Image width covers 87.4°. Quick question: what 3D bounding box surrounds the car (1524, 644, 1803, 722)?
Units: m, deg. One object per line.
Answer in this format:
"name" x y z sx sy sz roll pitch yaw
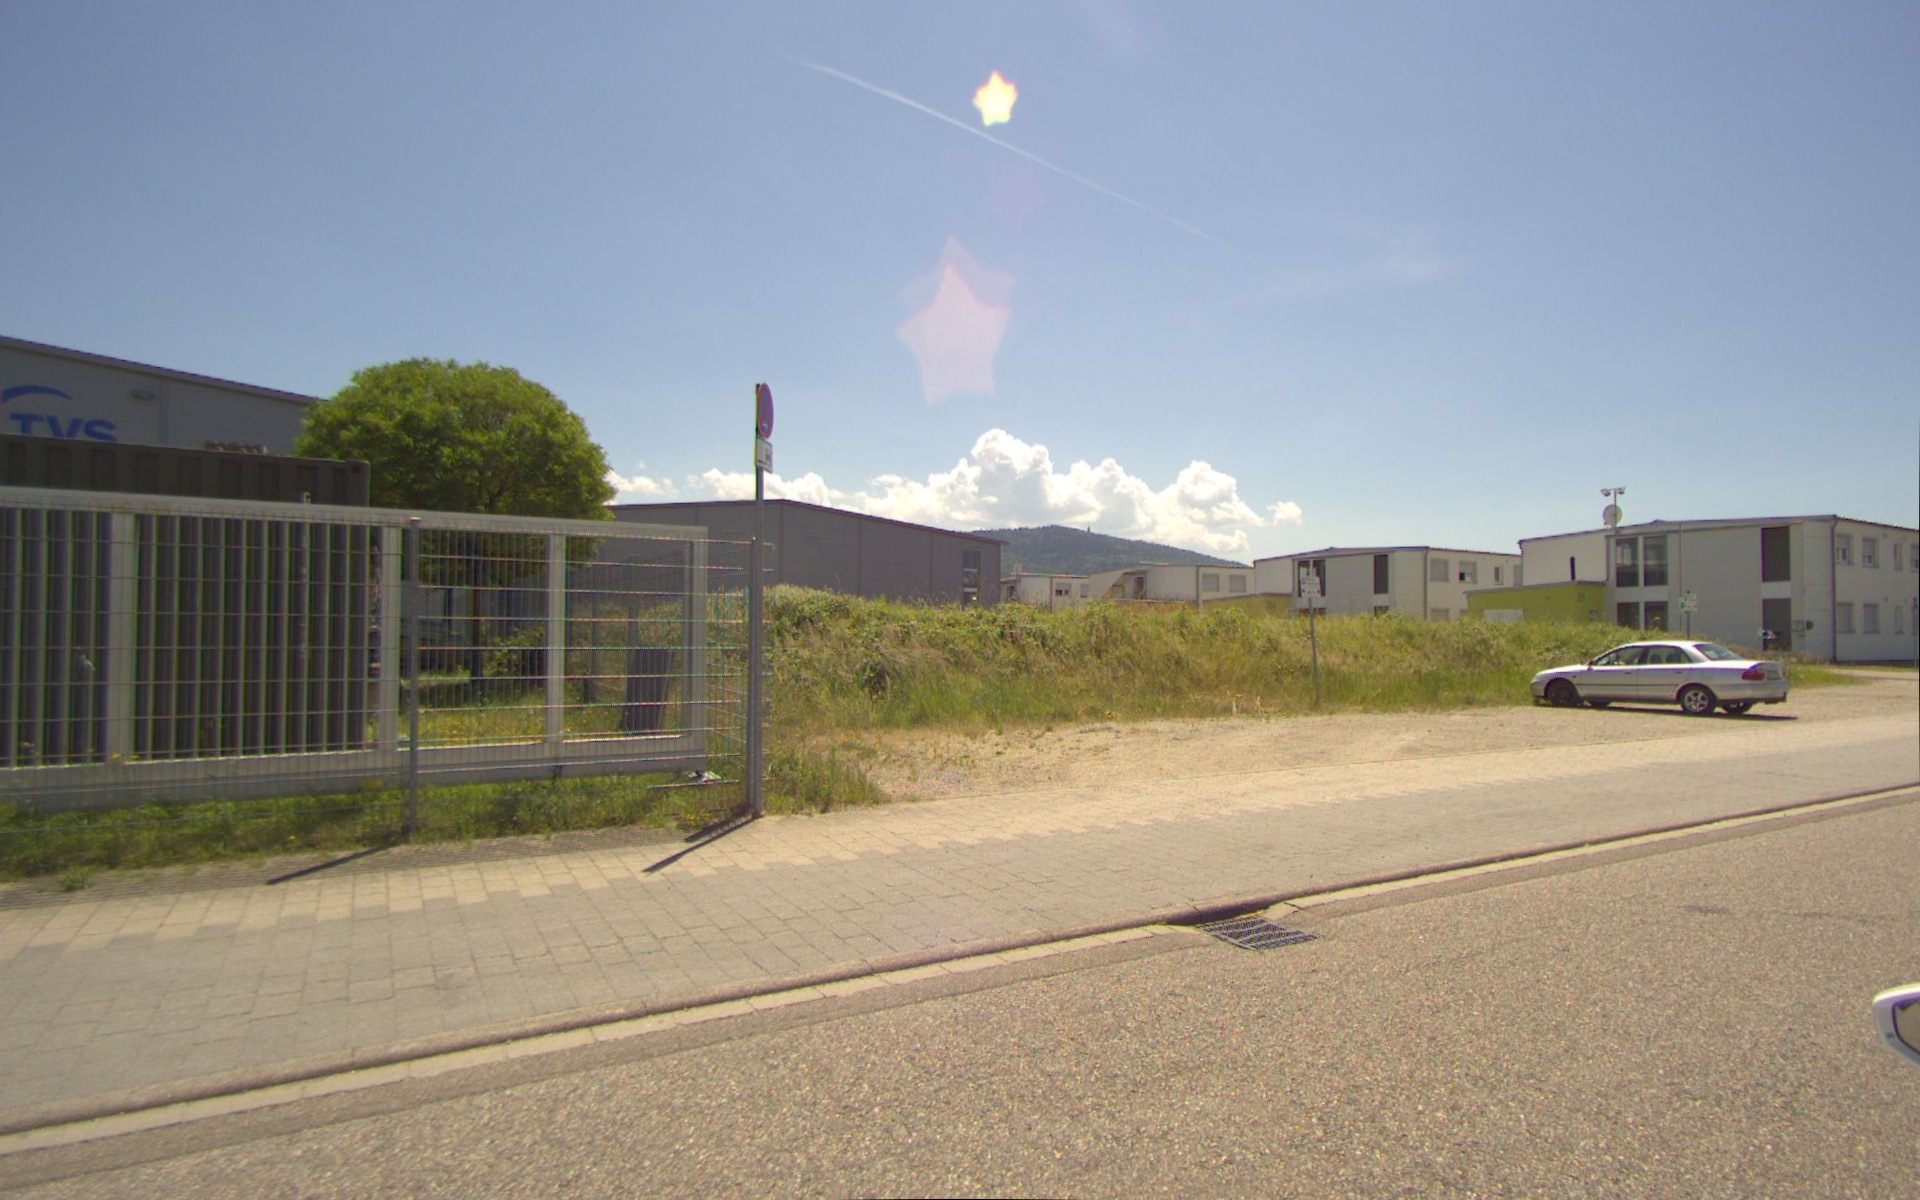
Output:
"car" 14.053 1.588 20.350 1.875 1.382 4.259 2 -3 -30
